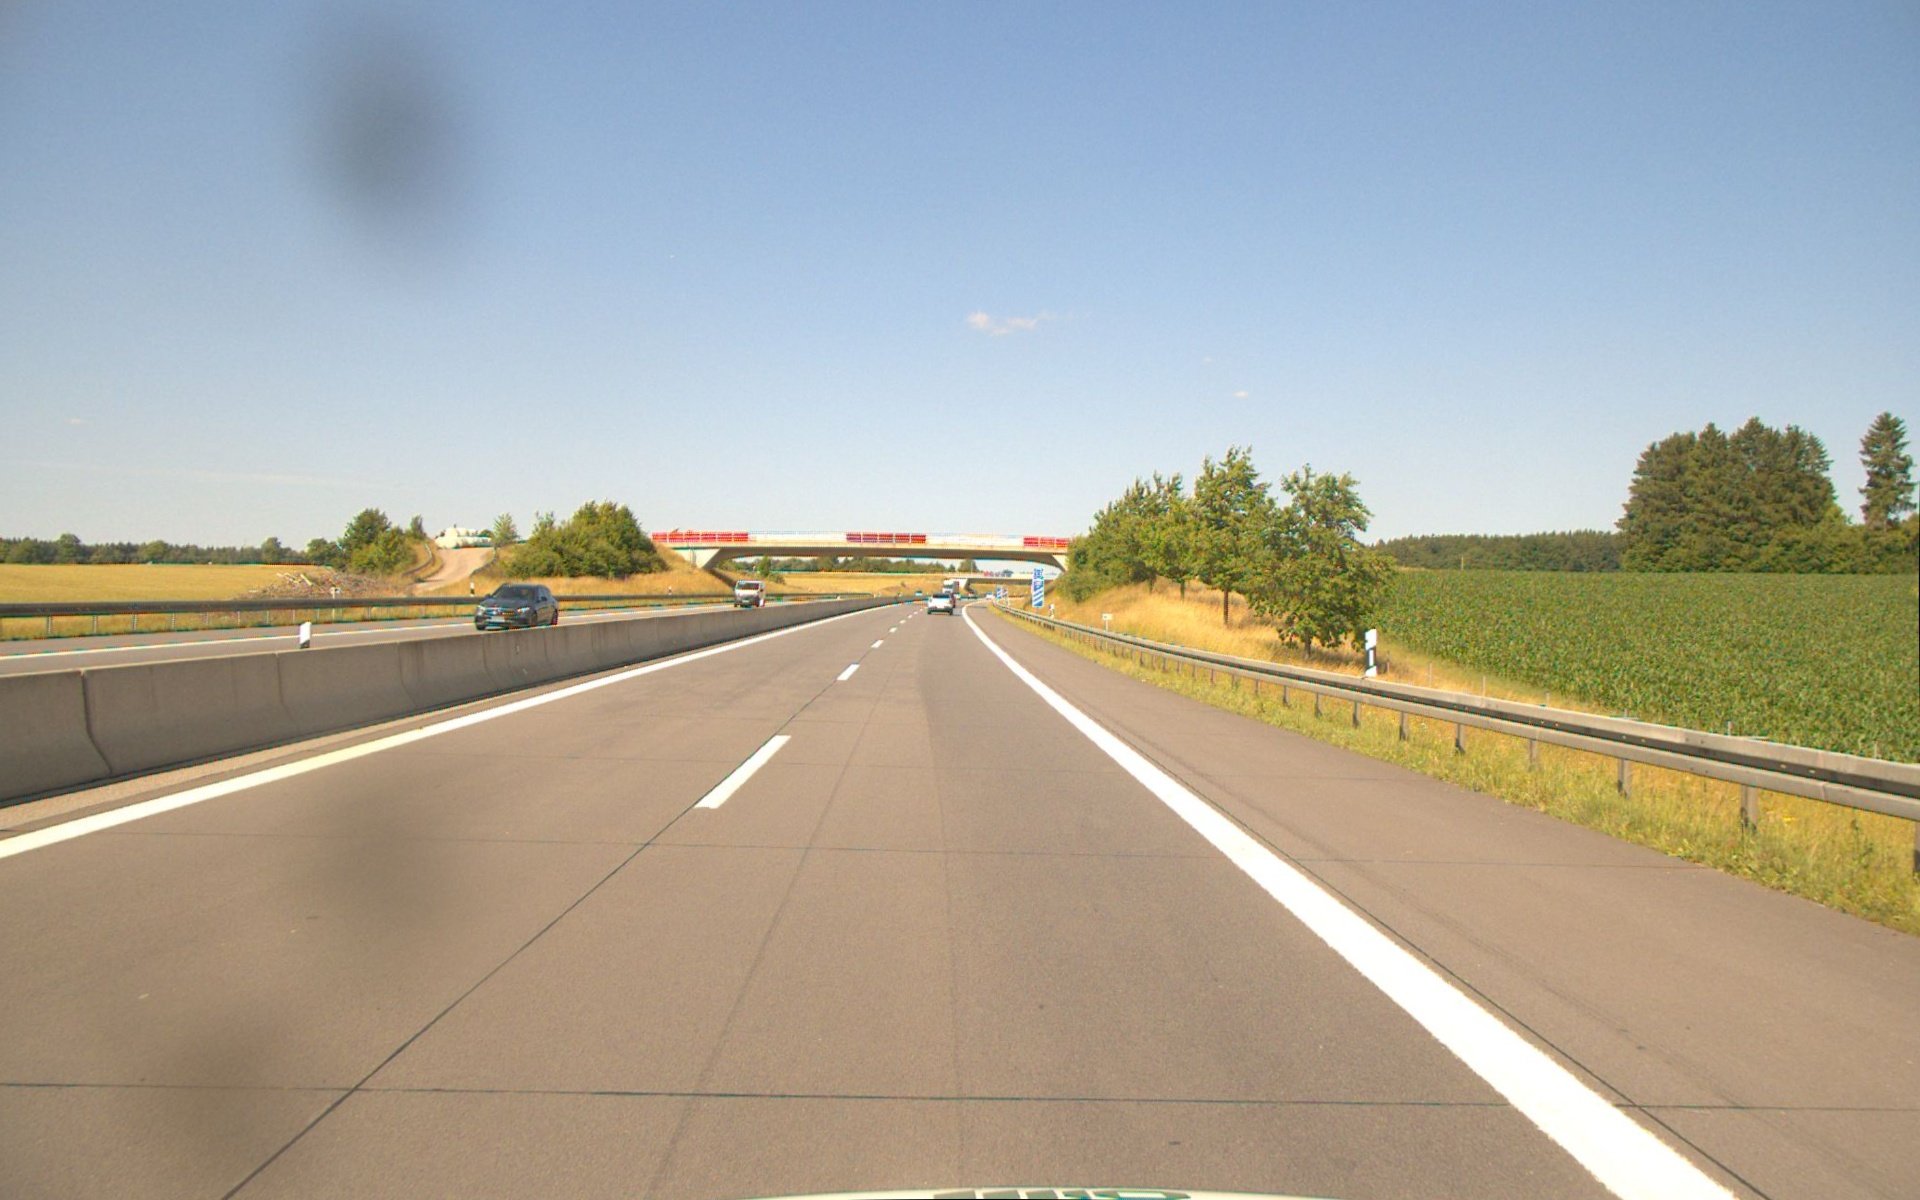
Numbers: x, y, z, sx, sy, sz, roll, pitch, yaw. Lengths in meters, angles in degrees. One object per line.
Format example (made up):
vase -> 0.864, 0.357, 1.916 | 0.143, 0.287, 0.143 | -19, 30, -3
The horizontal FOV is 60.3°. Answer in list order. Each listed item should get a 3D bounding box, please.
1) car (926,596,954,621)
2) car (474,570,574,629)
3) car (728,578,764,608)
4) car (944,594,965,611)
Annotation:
car -> -1.424, 0.585, 118.558 | 1.953, 1.761, 4.868 | 1, 0, -1
car -> -14.034, -0.058, 53.538 | 1.869, 1.714, 5.006 | 3, 1, -1
car -> -15.961, -0.503, 123.561 | 1.954, 2.049, 5.713 | 3, -1, -2
car -> -0.580, 0.268, 171.019 | 1.952, 1.761, 4.870 | 1, 0, 2
